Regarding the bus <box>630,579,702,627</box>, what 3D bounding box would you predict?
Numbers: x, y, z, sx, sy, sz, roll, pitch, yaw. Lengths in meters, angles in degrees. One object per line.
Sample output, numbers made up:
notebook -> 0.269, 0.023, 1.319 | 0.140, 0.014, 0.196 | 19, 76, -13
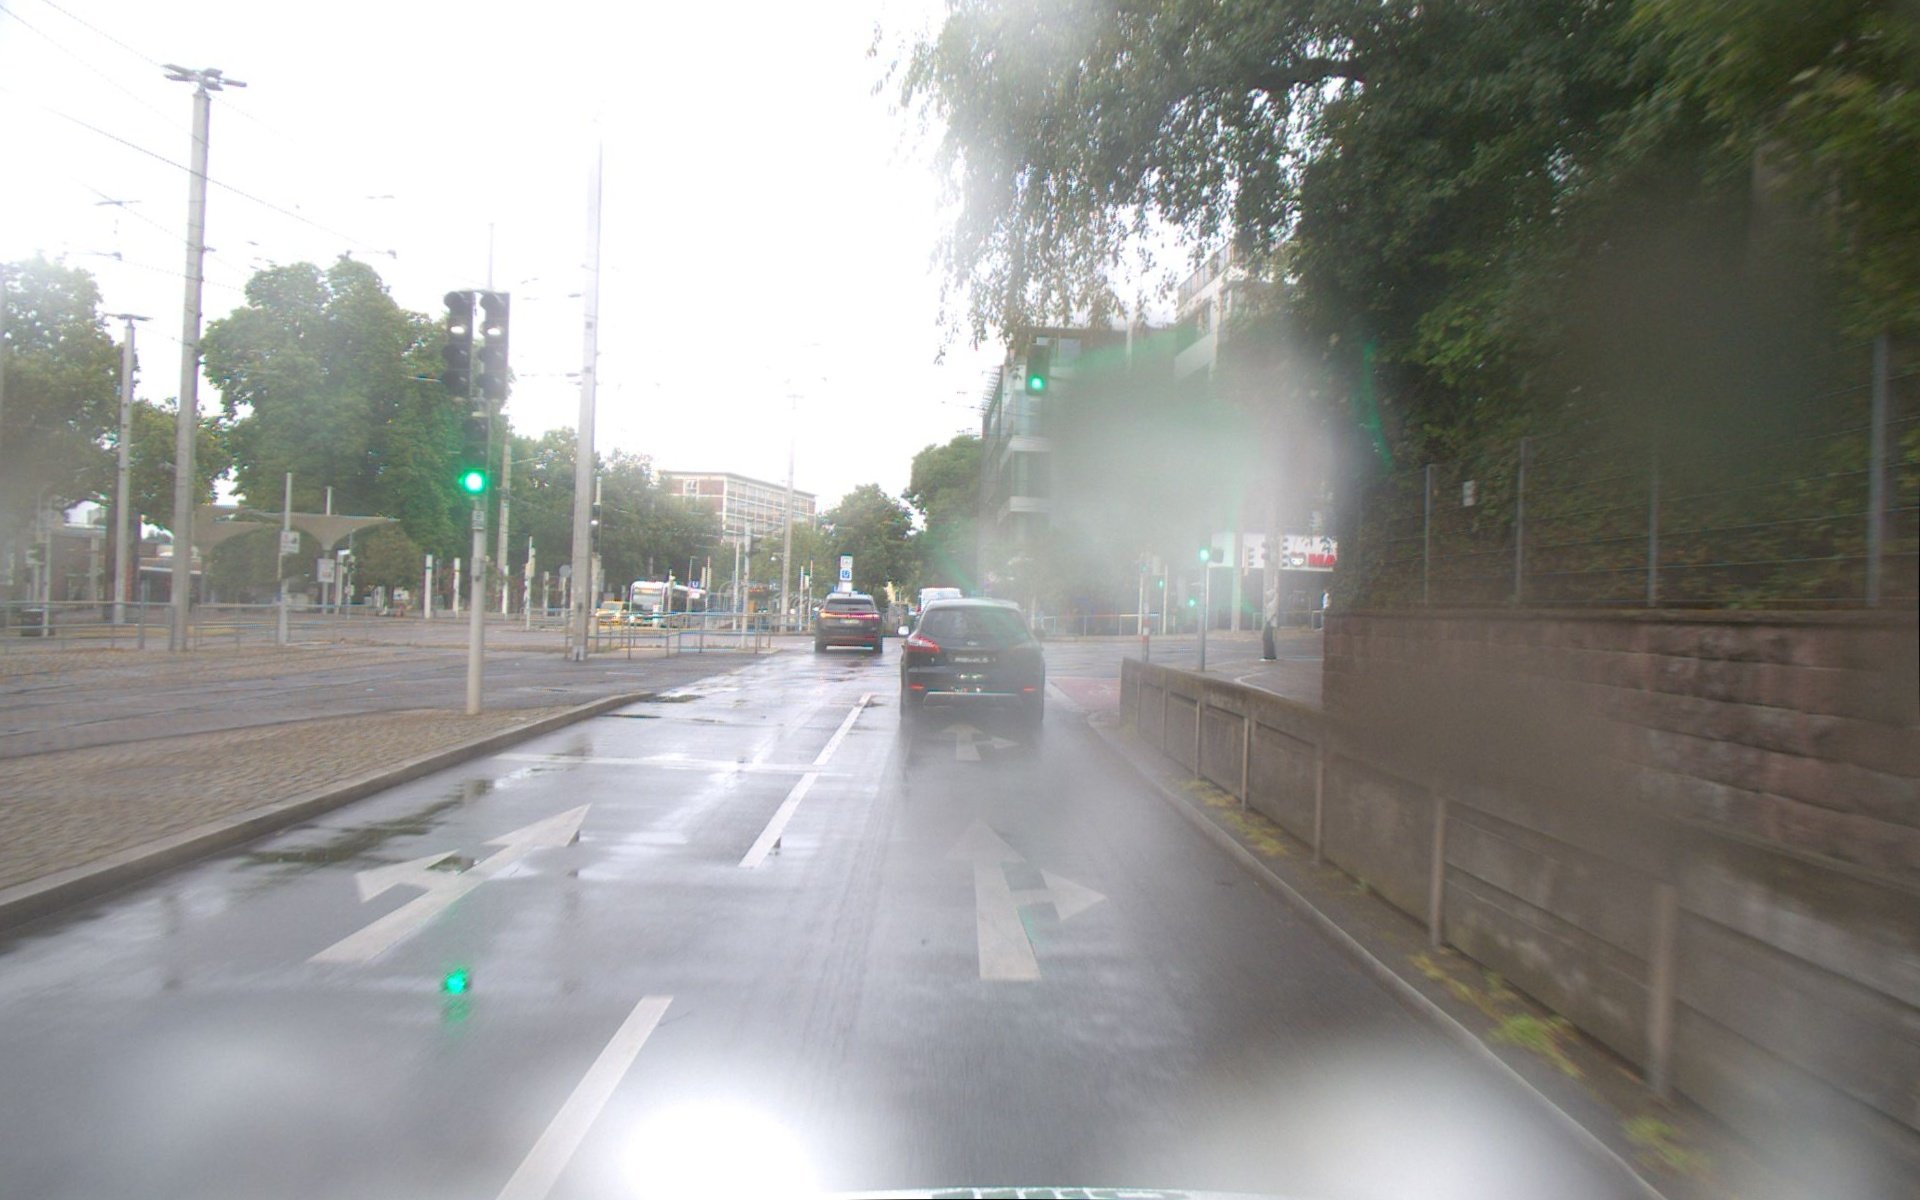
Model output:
bus -> -21.727, 0.259, 123.065 | 3.013, 3.358, 12.522 | 0, -1, 1

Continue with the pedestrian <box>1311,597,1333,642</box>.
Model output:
pedestrian -> 15.975, 0.860, 73.002 | 0.705, 1.947, 0.695 | 0, -1, 37

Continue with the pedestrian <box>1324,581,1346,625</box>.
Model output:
pedestrian -> 16.688, 0.121, 73.629 | 0.705, 1.947, 0.695 | 0, -1, 37

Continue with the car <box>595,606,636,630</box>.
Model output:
car -> -24.741, 1.322, 118.900 | 1.953, 1.674, 4.536 | 0, -1, 0

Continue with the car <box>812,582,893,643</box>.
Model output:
car -> -2.943, 0.346, 44.856 | 2.057, 1.532, 4.727 | 0, -1, -4

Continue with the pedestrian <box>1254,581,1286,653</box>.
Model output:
pedestrian -> 7.511, 0.409, 40.085 | 0.518, 1.742, 0.703 | 0, -1, 37

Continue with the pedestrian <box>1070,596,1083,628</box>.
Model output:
pedestrian -> 5.707, 0.592, 80.976 | 0.530, 1.590, 0.521 | 0, -1, 19

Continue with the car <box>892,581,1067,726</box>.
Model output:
car -> 0.201, 0.631, 21.443 | 1.994, 1.612, 4.391 | 2, 0, -1

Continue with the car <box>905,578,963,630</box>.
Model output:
car -> -0.962, 0.161, 63.162 | 1.994, 1.872, 4.392 | 2, 0, 1
